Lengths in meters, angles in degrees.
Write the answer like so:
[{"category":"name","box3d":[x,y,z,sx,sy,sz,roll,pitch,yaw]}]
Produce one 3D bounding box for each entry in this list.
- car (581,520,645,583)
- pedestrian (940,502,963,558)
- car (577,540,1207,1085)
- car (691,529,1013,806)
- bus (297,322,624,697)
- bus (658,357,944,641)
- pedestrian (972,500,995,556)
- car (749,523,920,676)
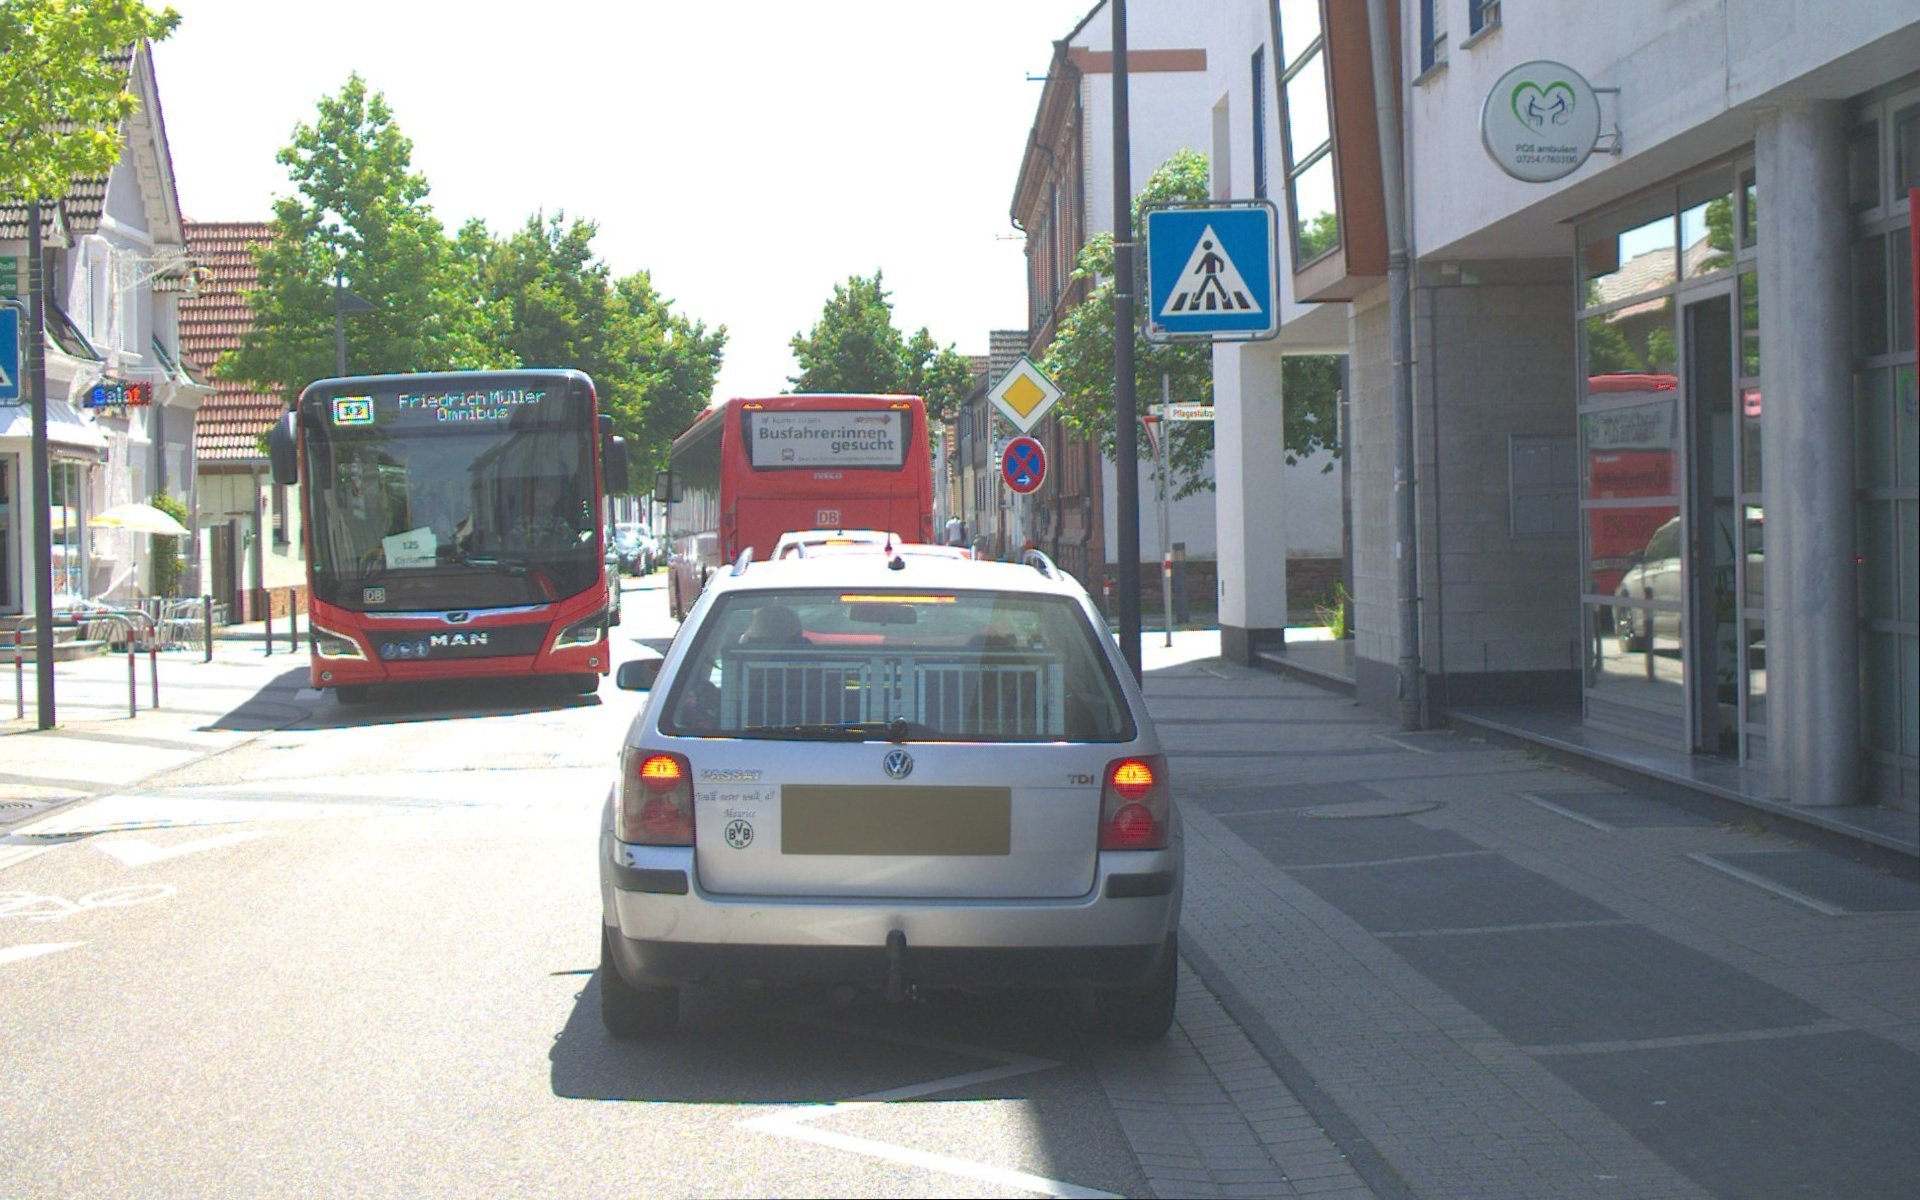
[{"category":"car","box3d":[-11.262,-1.601,111.807,1.811,1.989,4.001,-1,1,-2]},{"category":"pedestrian","box3d":[-0.266,-2.115,103.359,0.606,1.661,0.789,-1,1,-4]},{"category":"car","box3d":[-0.255,0.548,11.172,1.677,1.425,3.680,1,1,-2]},{"category":"car","box3d":[-0.640,0.319,20.044,1.677,1.425,3.680,-1,1,-2]},{"category":"bus","box3d":[-5.372,-0.939,37.738,2.668,3.113,17.811,-1,1,-8]},{"category":"bus","box3d":[-2.397,-1.298,46.396,2.739,3.287,12.708,-1,1,-8]},{"category":"pedestrian","box3d":[0.713,-2.164,102.944,0.606,1.661,0.789,-1,1,-4]},{"category":"car","box3d":[-1.206,-0.043,33.843,1.593,1.425,3.680,0,1,-1]}]
